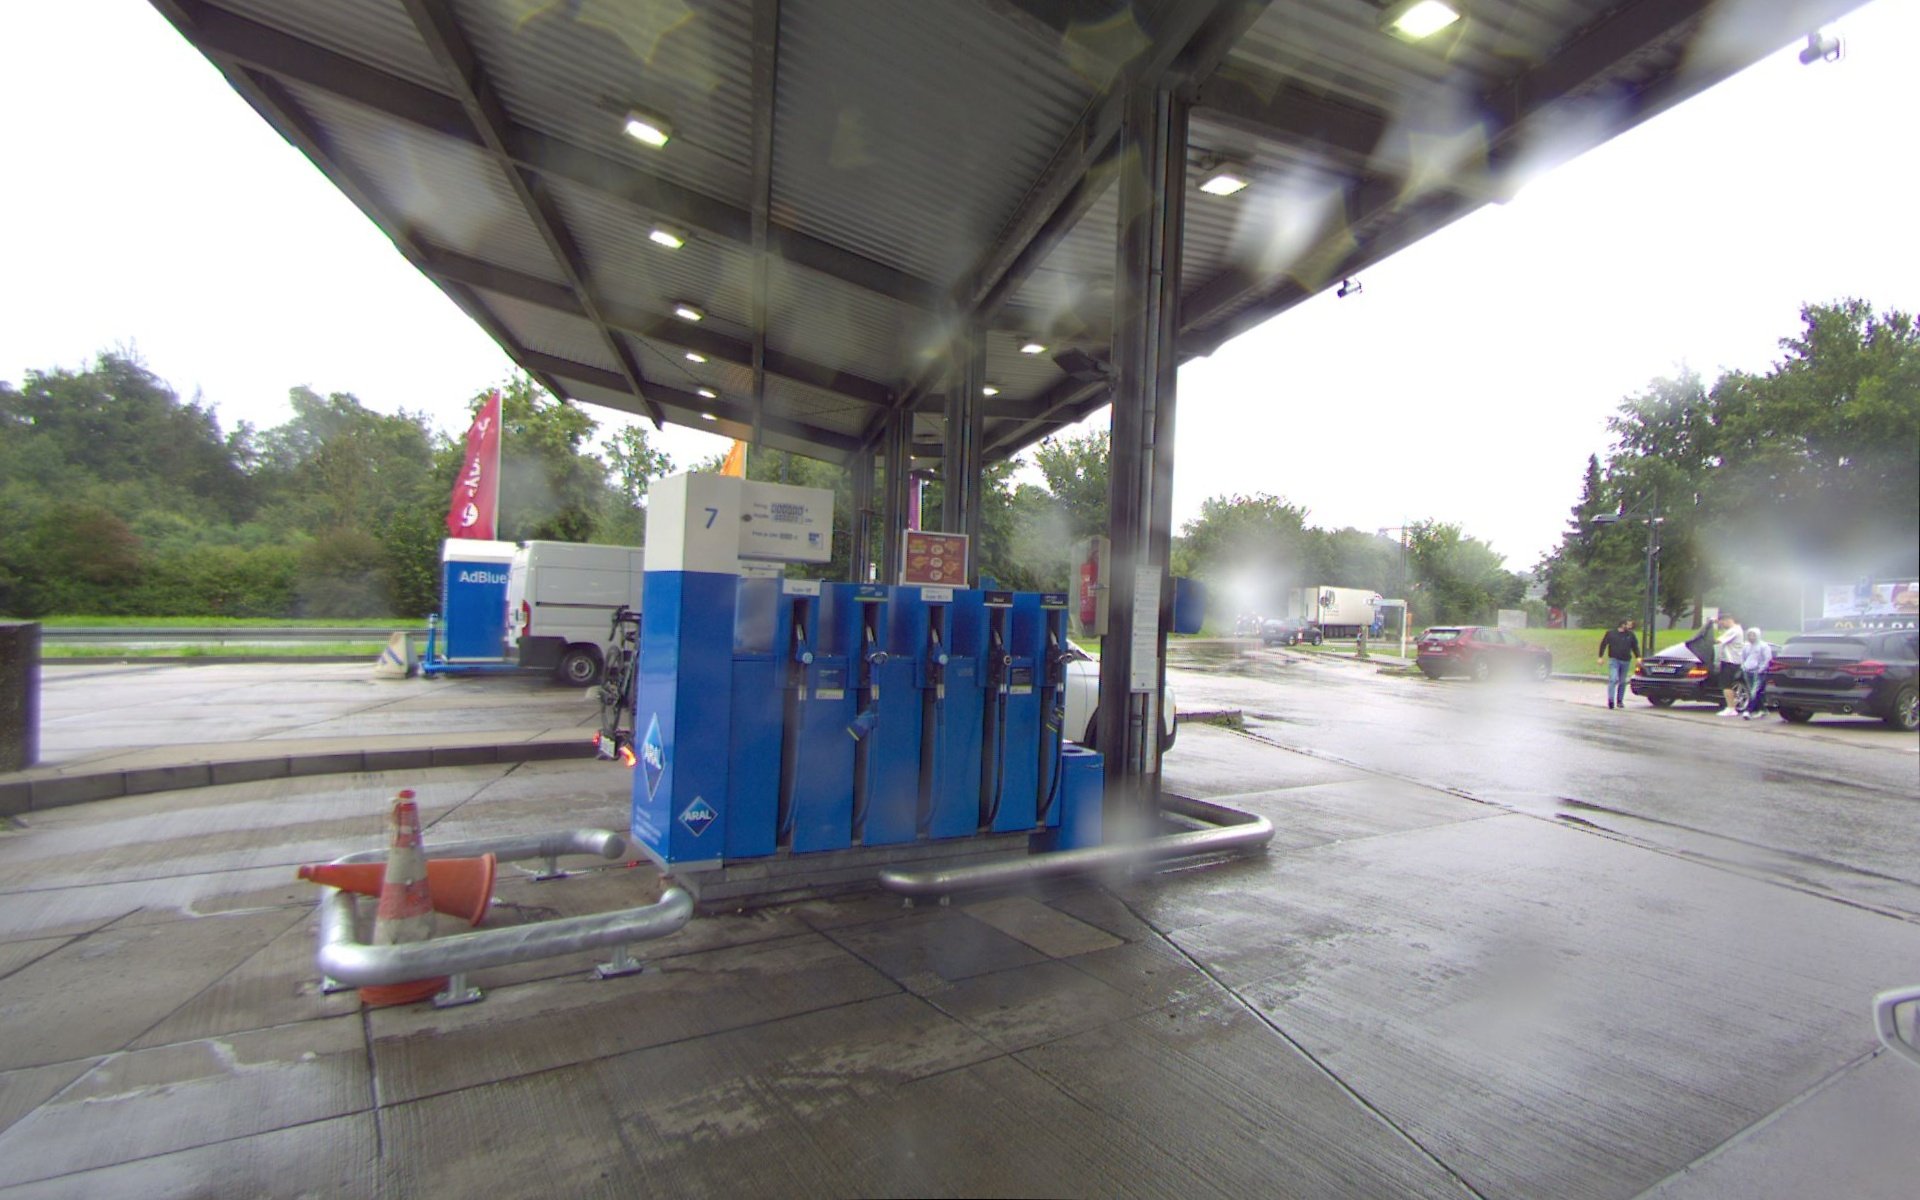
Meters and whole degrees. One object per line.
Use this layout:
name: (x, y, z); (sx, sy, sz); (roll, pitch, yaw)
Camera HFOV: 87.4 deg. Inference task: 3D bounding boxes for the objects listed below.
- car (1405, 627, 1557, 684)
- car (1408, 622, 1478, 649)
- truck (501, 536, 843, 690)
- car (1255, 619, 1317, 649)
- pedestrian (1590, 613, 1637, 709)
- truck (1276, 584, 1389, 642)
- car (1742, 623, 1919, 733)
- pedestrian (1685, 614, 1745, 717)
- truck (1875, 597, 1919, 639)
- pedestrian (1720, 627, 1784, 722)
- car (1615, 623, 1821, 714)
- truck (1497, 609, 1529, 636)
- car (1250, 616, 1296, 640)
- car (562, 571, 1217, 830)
car: (16.075, 1.665, 30.993); (4.283, 1.666, 1.933); (1, -2, -25)
car: (31.809, 2.314, 66.125); (3.933, 1.650, 1.772); (2, -1, -15)
truck: (-5.339, 0.287, 18.931); (5.793, 2.527, 2.221); (2, 0, -30)
car: (19.714, 2.036, 60.644); (3.974, 1.700, 1.974); (3, -1, -45)
pedestrian: (13.490, 1.231, 20.735); (0.693, 1.912, 0.890); (2, 0, 38)
truck: (31.878, 1.174, 85.142); (3.498, 4.397, 16.922); (2, 0, 40)
car: (16.171, 1.269, 17.459); (4.274, 1.734, 2.016); (1, -1, -18)
pedestrian: (14.605, 1.245, 19.436); (0.946, 1.912, 0.696); (2, 0, -40)
truck: (68.853, 1.319, 71.691); (5.285, 2.959, 2.191); (2, 0, -5)
pedestrian: (14.492, 1.345, 18.374); (0.946, 1.653, 0.696); (2, 0, -39)
car: (15.940, 1.354, 21.082); (4.293, 1.734, 2.007); (1, -2, -31)
truck: (65.879, 2.664, 119.603); (2.444, 3.126, 7.333); (2, 0, 35)
car: (22.902, 2.051, 73.428); (1.787, 1.704, 3.934); (2, 0, 40)
car: (-0.427, 0.698, 8.450); (5.210, 1.629, 1.852); (2, 0, -30)
